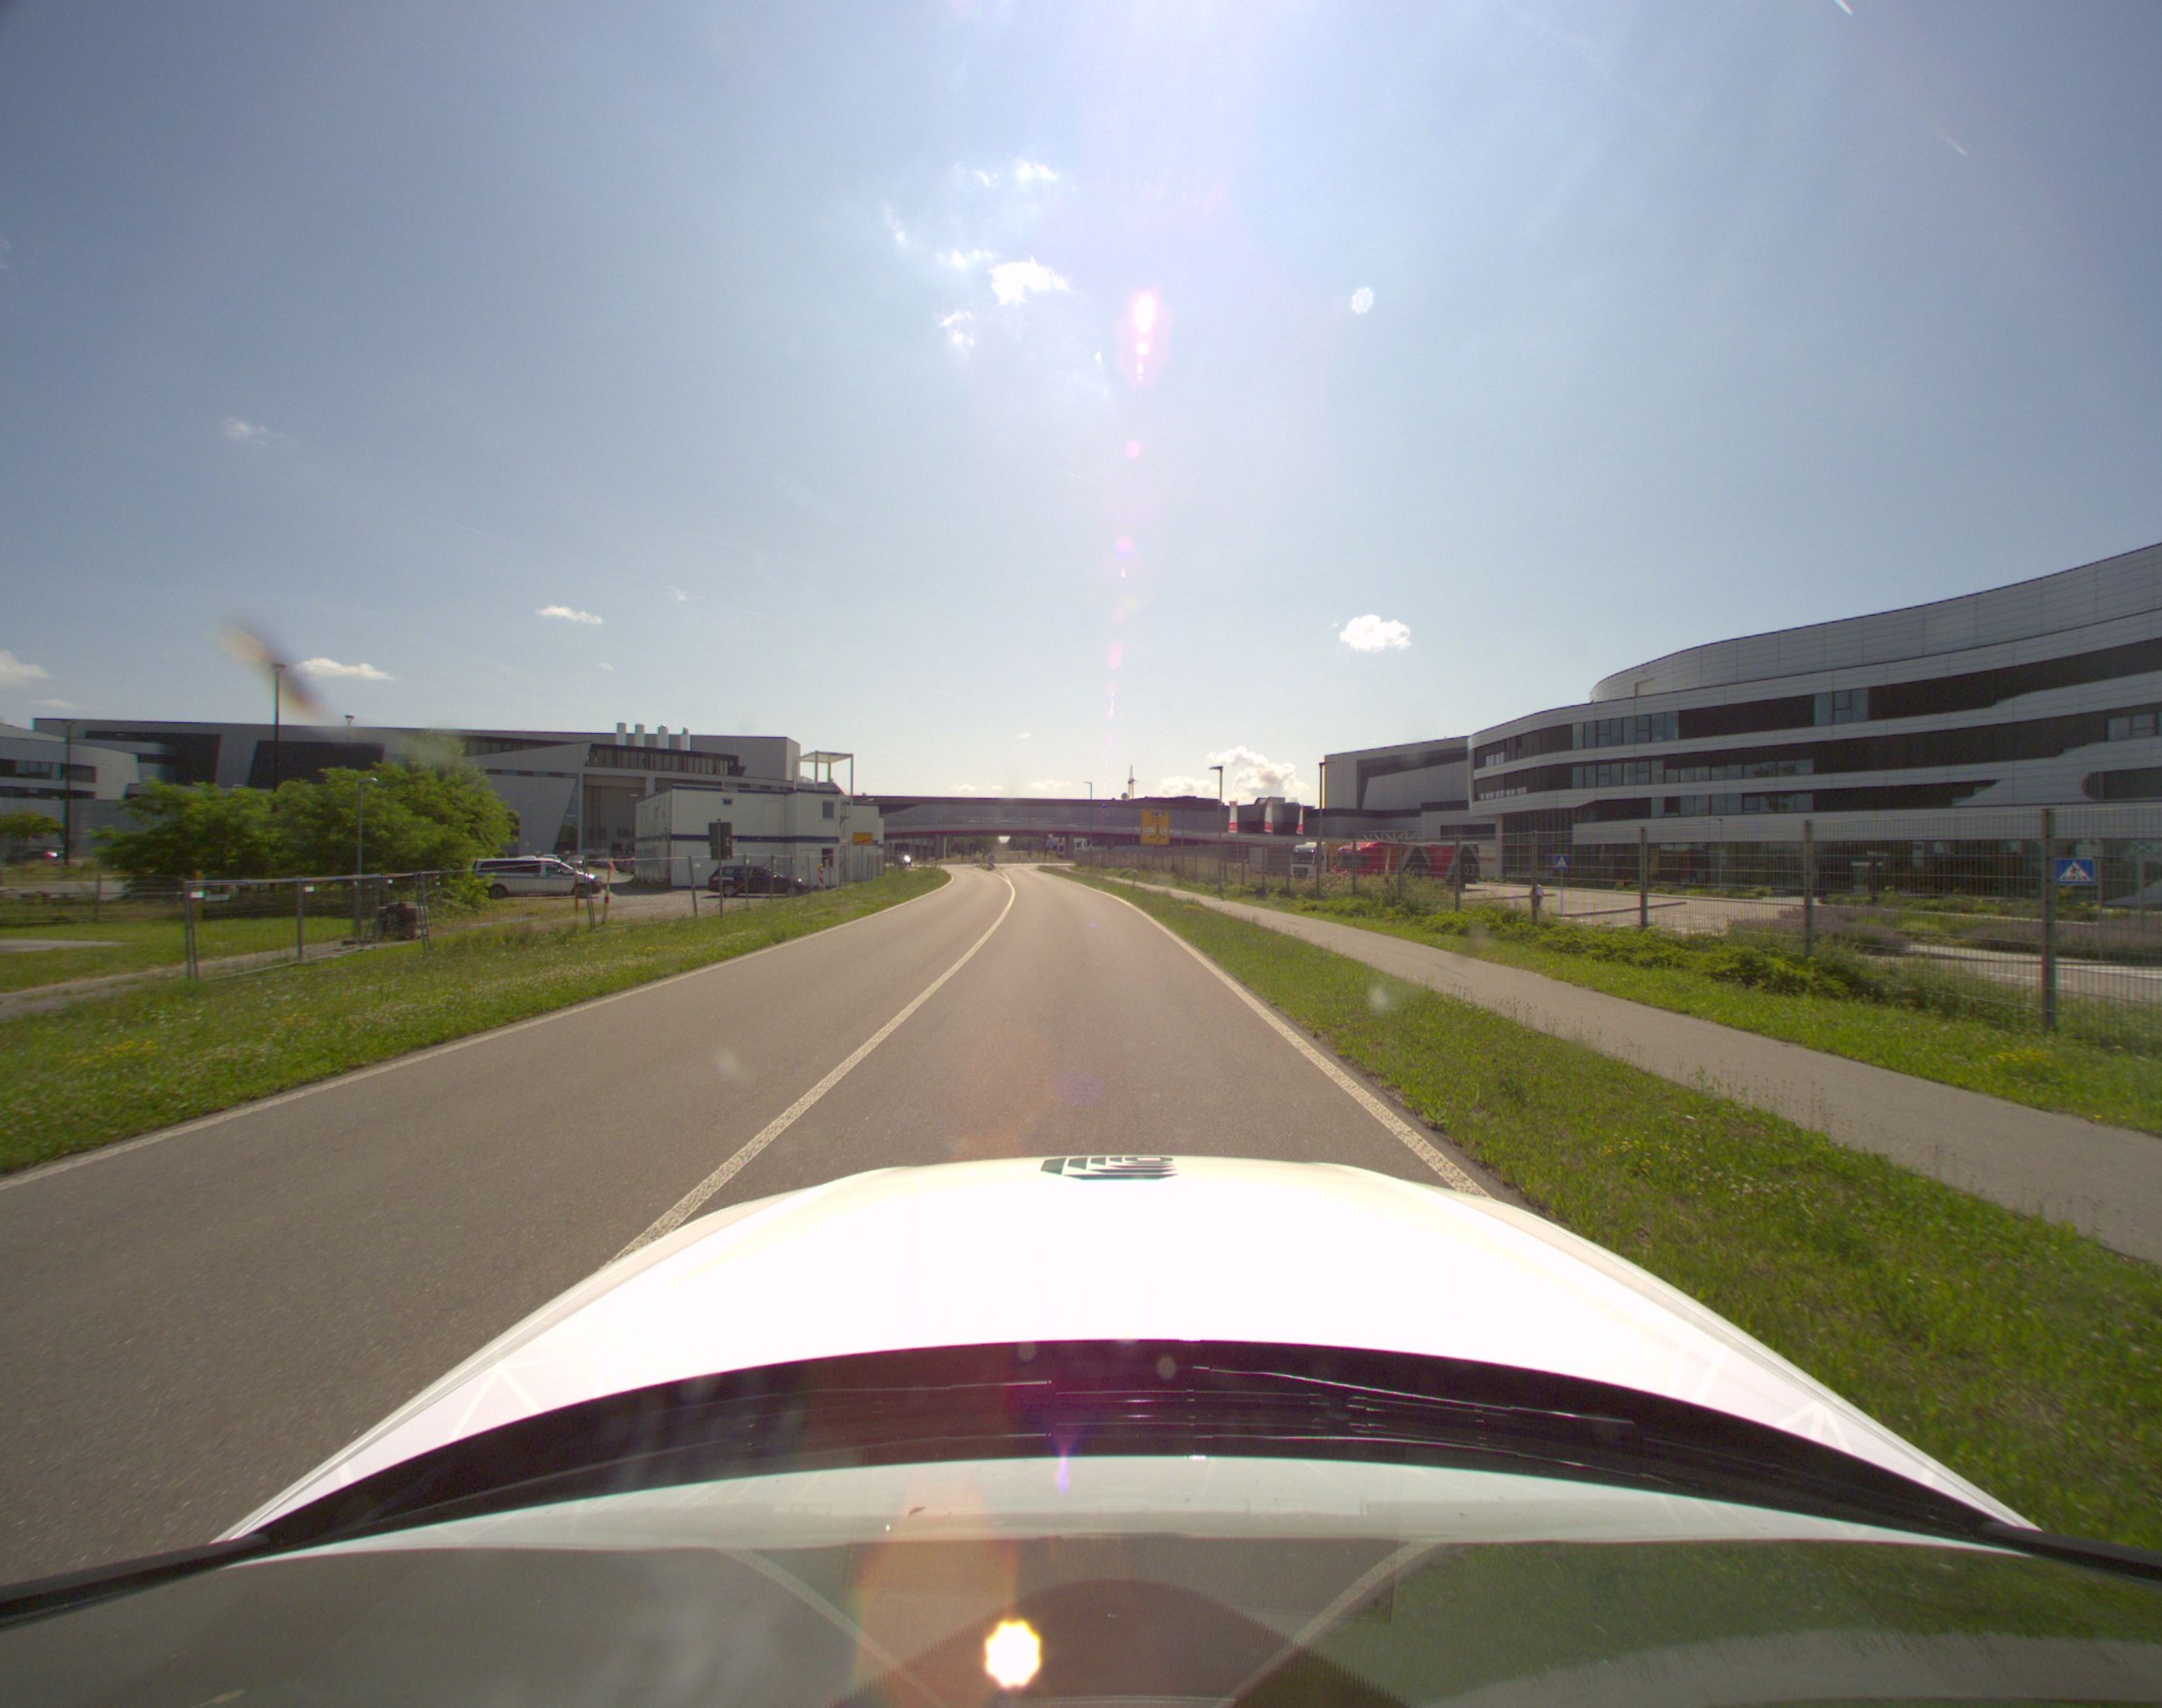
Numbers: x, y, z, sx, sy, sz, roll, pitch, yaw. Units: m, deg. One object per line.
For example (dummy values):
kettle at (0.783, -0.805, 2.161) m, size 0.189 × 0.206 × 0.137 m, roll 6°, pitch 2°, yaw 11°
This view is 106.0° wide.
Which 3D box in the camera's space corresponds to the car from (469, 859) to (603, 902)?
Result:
car at (-25.183, 1.178, 37.795) m, size 5.043 × 1.867 × 1.978 m, roll 1°, pitch 0°, yaw -36°

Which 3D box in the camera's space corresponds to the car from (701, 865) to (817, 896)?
car at (-15.375, 1.248, 39.221) m, size 4.979 × 1.417 × 1.989 m, roll 0°, pitch 0°, yaw -16°

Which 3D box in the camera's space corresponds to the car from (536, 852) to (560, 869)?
car at (-58.579, 0.717, 89.555) m, size 2.007 × 1.867 × 4.271 m, roll 1°, pitch 0°, yaw -32°

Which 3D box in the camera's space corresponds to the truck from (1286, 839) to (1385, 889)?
truck at (23.172, 0.839, 73.750) m, size 11.028 × 4.172 × 2.790 m, roll 0°, pitch -1°, yaw -39°

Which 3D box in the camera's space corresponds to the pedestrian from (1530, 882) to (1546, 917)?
pedestrian at (22.259, 2.207, 39.678) m, size 0.482 × 1.653 × 0.574 m, roll 1°, pitch -1°, yaw -2°

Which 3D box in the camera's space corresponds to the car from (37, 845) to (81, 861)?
car at (-123.308, -0.095, 98.318) m, size 2.007 × 1.867 × 4.271 m, roll 1°, pitch 0°, yaw -32°

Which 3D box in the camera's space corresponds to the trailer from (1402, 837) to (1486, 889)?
trailer at (31.678, 0.743, 70.894) m, size 8.758 × 4.296 × 2.994 m, roll 0°, pitch -1°, yaw -39°

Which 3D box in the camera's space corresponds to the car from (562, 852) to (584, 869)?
car at (-56.742, 0.687, 90.929) m, size 2.007 × 1.867 × 4.271 m, roll 1°, pitch 0°, yaw -32°

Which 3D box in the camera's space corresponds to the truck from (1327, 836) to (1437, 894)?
truck at (24.045, 0.784, 64.651) m, size 11.029 × 4.256 × 2.993 m, roll 0°, pitch -1°, yaw -40°

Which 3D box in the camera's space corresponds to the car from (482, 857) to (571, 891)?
car at (-33.330, 1.191, 48.990) m, size 4.332 × 1.948 × 1.978 m, roll 1°, pitch 0°, yaw -36°

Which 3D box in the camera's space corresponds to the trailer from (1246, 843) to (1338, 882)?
trailer at (25.175, 0.918, 96.348) m, size 14.135 × 4.438 × 2.734 m, roll 0°, pitch -1°, yaw -40°

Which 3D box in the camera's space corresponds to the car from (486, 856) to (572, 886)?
car at (-36.164, 1.107, 53.402) m, size 1.975 × 1.867 × 4.339 m, roll 0°, pitch 0°, yaw 44°

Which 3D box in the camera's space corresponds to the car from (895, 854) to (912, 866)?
car at (-24.151, 0.836, 110.573) m, size 1.708 × 1.482 × 3.973 m, roll -1°, pitch -1°, yaw -20°
